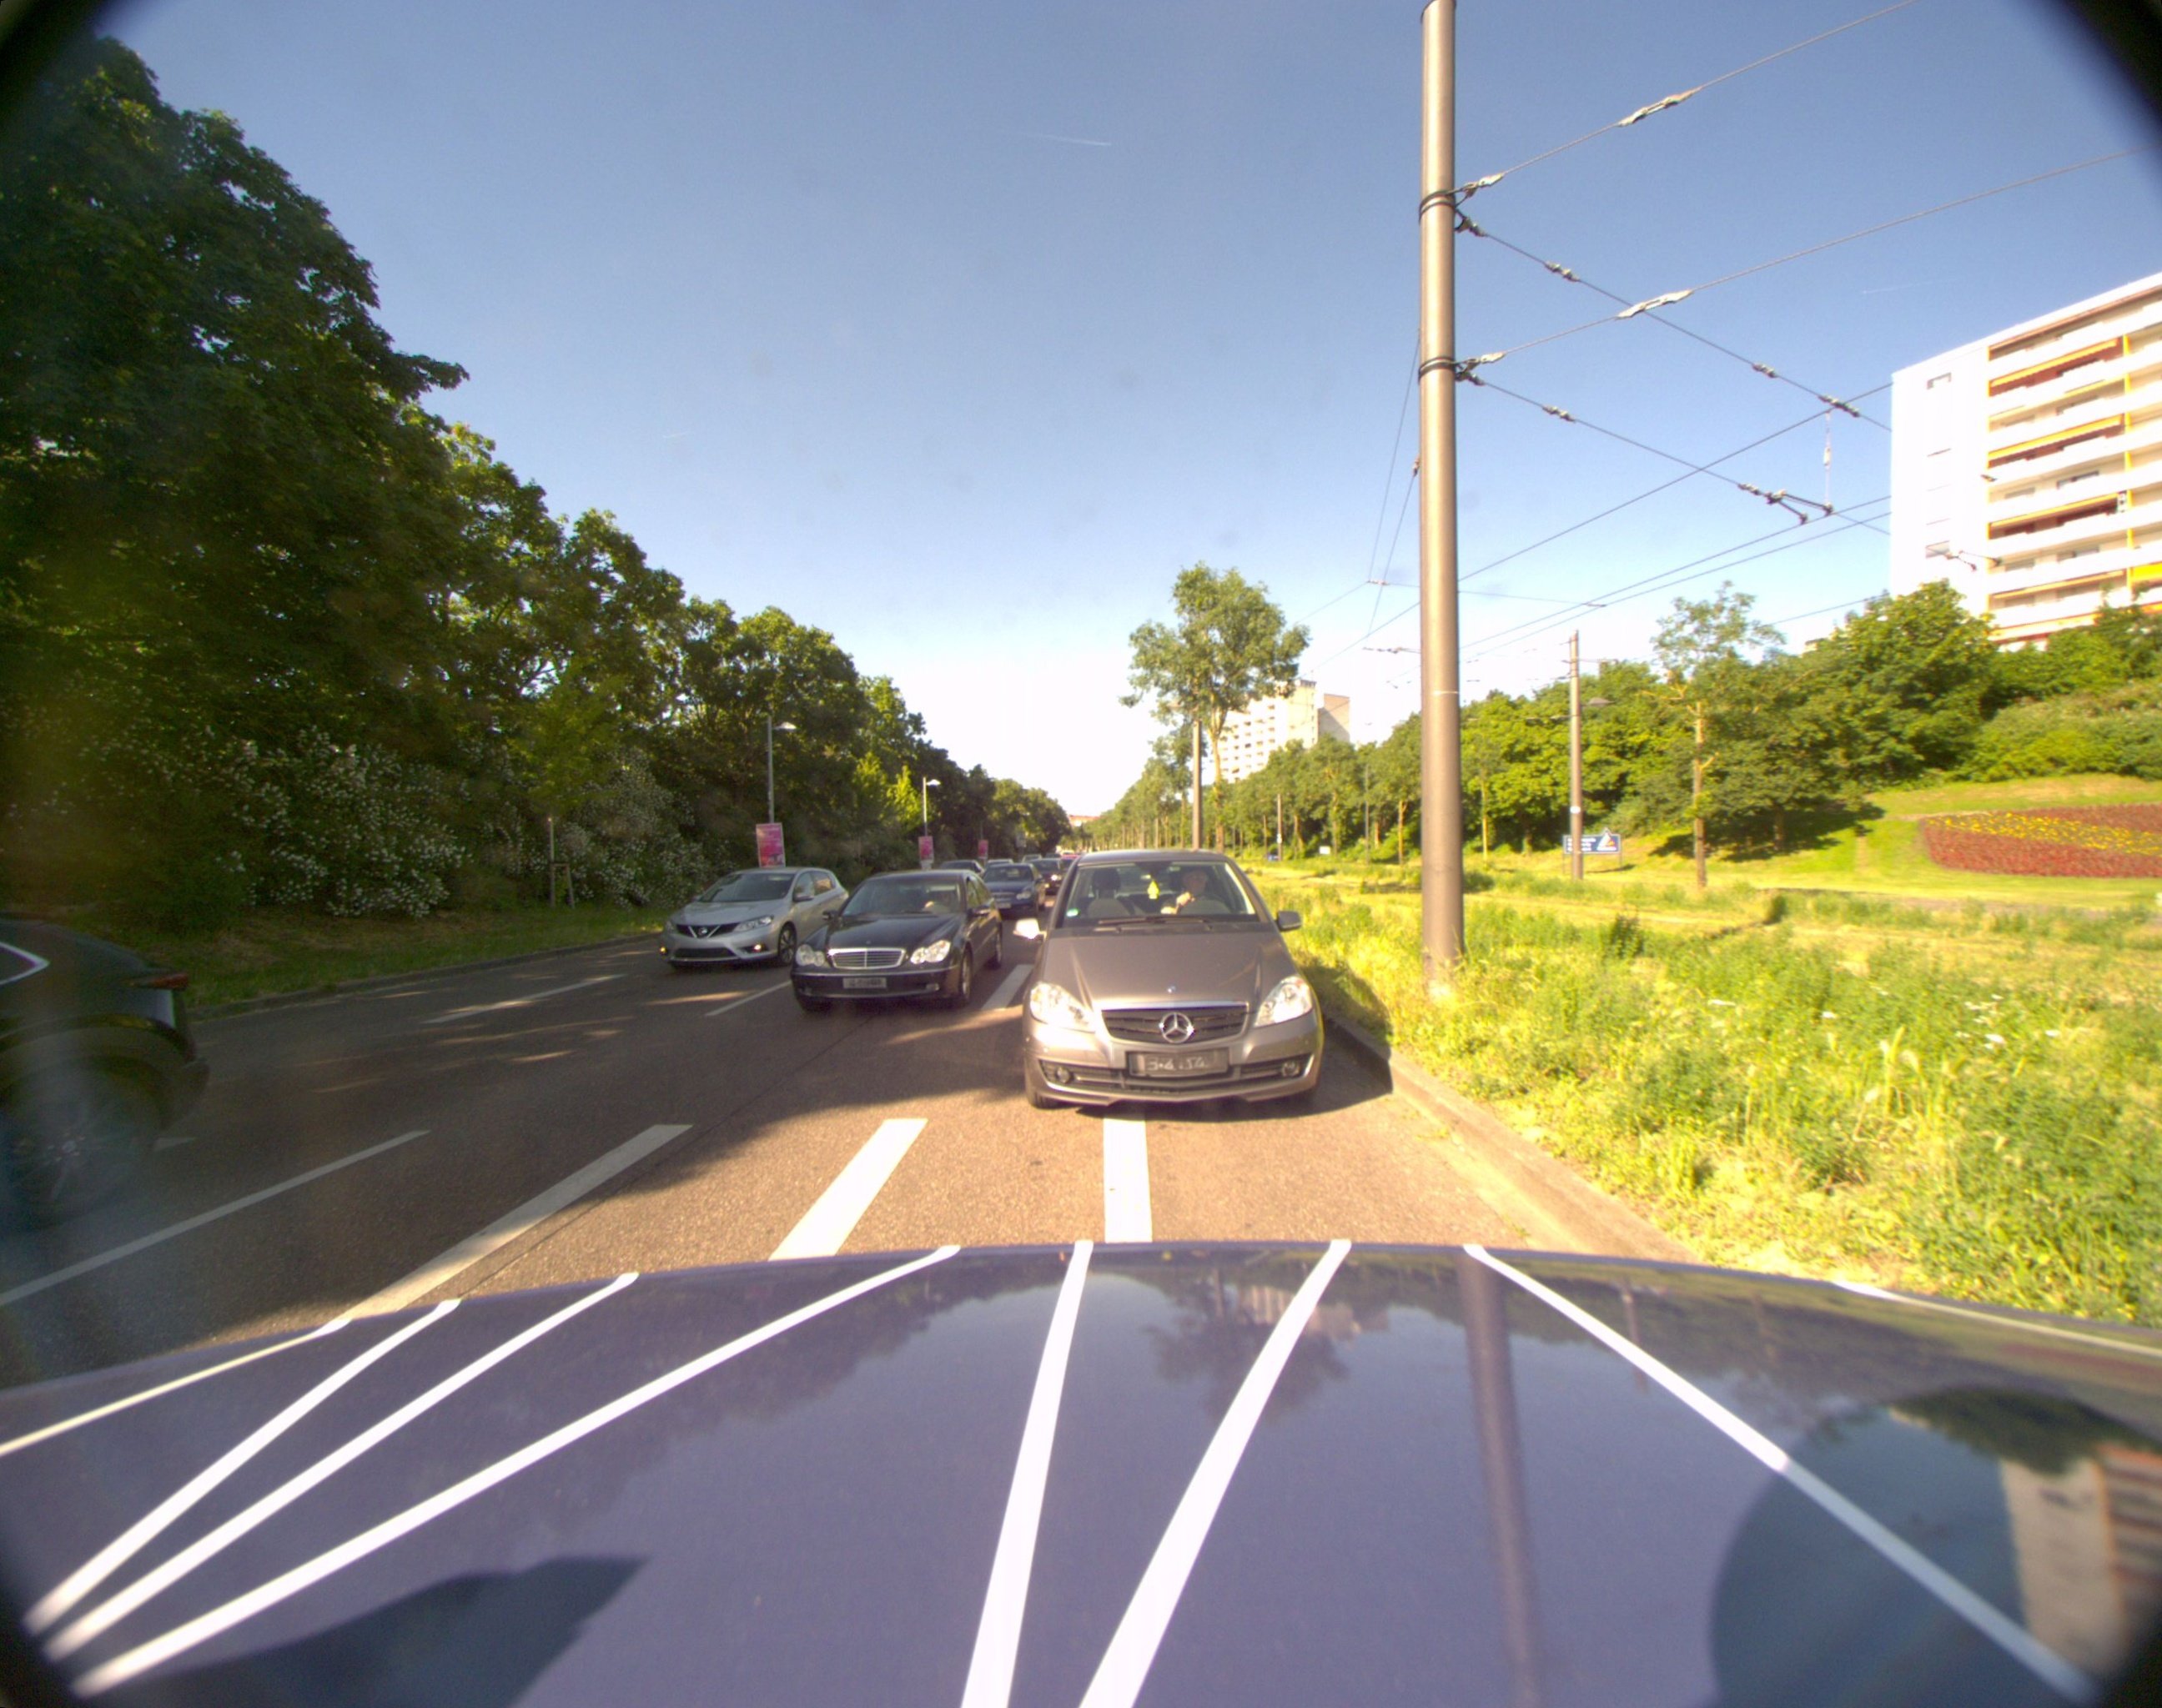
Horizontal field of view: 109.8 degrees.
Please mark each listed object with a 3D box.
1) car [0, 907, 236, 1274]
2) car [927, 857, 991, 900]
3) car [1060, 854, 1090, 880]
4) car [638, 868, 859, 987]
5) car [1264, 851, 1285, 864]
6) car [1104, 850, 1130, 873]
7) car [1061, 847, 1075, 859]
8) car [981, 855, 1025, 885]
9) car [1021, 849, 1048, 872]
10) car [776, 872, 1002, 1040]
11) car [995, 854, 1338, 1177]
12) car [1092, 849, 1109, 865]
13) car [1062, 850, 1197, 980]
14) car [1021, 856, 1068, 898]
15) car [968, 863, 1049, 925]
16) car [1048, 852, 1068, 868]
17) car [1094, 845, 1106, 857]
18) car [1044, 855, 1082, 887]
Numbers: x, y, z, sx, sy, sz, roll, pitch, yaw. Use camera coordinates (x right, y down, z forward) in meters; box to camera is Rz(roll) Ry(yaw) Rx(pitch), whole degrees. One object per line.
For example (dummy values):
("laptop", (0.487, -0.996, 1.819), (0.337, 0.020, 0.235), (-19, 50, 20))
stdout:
("car", (-5.561, 1.093, 2.018), (1.772, 1.499, 4.225), (-2, 1, 2))
("car", (-4.677, 0.889, 29.622), (1.713, 1.485, 3.963), (-2, 0, 1))
("car", (-0.336, 0.752, 47.028), (1.685, 1.437, 3.727), (-2, 1, 2))
("car", (-5.245, 1.061, 12.666), (1.726, 1.508, 4.137), (-2, 0, 1))
("car", (22.745, 0.417, 89.537), (1.578, 1.412, 3.909), (-1, 0, 1))
("car", (2.705, 0.573, 57.629), (1.749, 1.652, 4.000), (-1, 0, 1))
("car", (-1.782, -0.135, 104.194), (1.713, 1.485, 3.963), (-2, 0, 1))
("car", (-4.167, 0.807, 41.159), (1.749, 1.427, 4.386), (-2, 1, 2))
("car", (-3.510, 0.448, 57.697), (1.749, 1.652, 4.000), (-1, 0, 1))
("car", (-2.015, 1.009, 9.210), (1.717, 1.445, 4.197), (-1, 0, -1))
("car", (0.479, 0.857, 6.011), (1.749, 1.630, 4.000), (-2, 0, 1))
("car", (2.075, 0.295, 82.366), (1.749, 1.652, 3.999), (-2, 1, 1))
("car", (0.671, 0.807, 12.167), (1.749, 1.652, 3.999), (-2, 1, 1))
("car", (-1.409, 0.893, 30.488), (1.621, 1.485, 3.452), (-2, 1, 0))
("car", (-1.857, 0.989, 20.572), (1.723, 1.411, 4.050), (-1, 0, 1))
("car", (-2.252, 0.556, 74.767), (1.713, 1.485, 3.963), (-2, 0, 1))
("car", (2.747, -0.439, 109.168), (1.630, 1.556, 3.812), (-2, 1, 1))
("car", (-0.860, 0.798, 38.236), (1.713, 1.430, 4.171), (-2, 0, 1))
